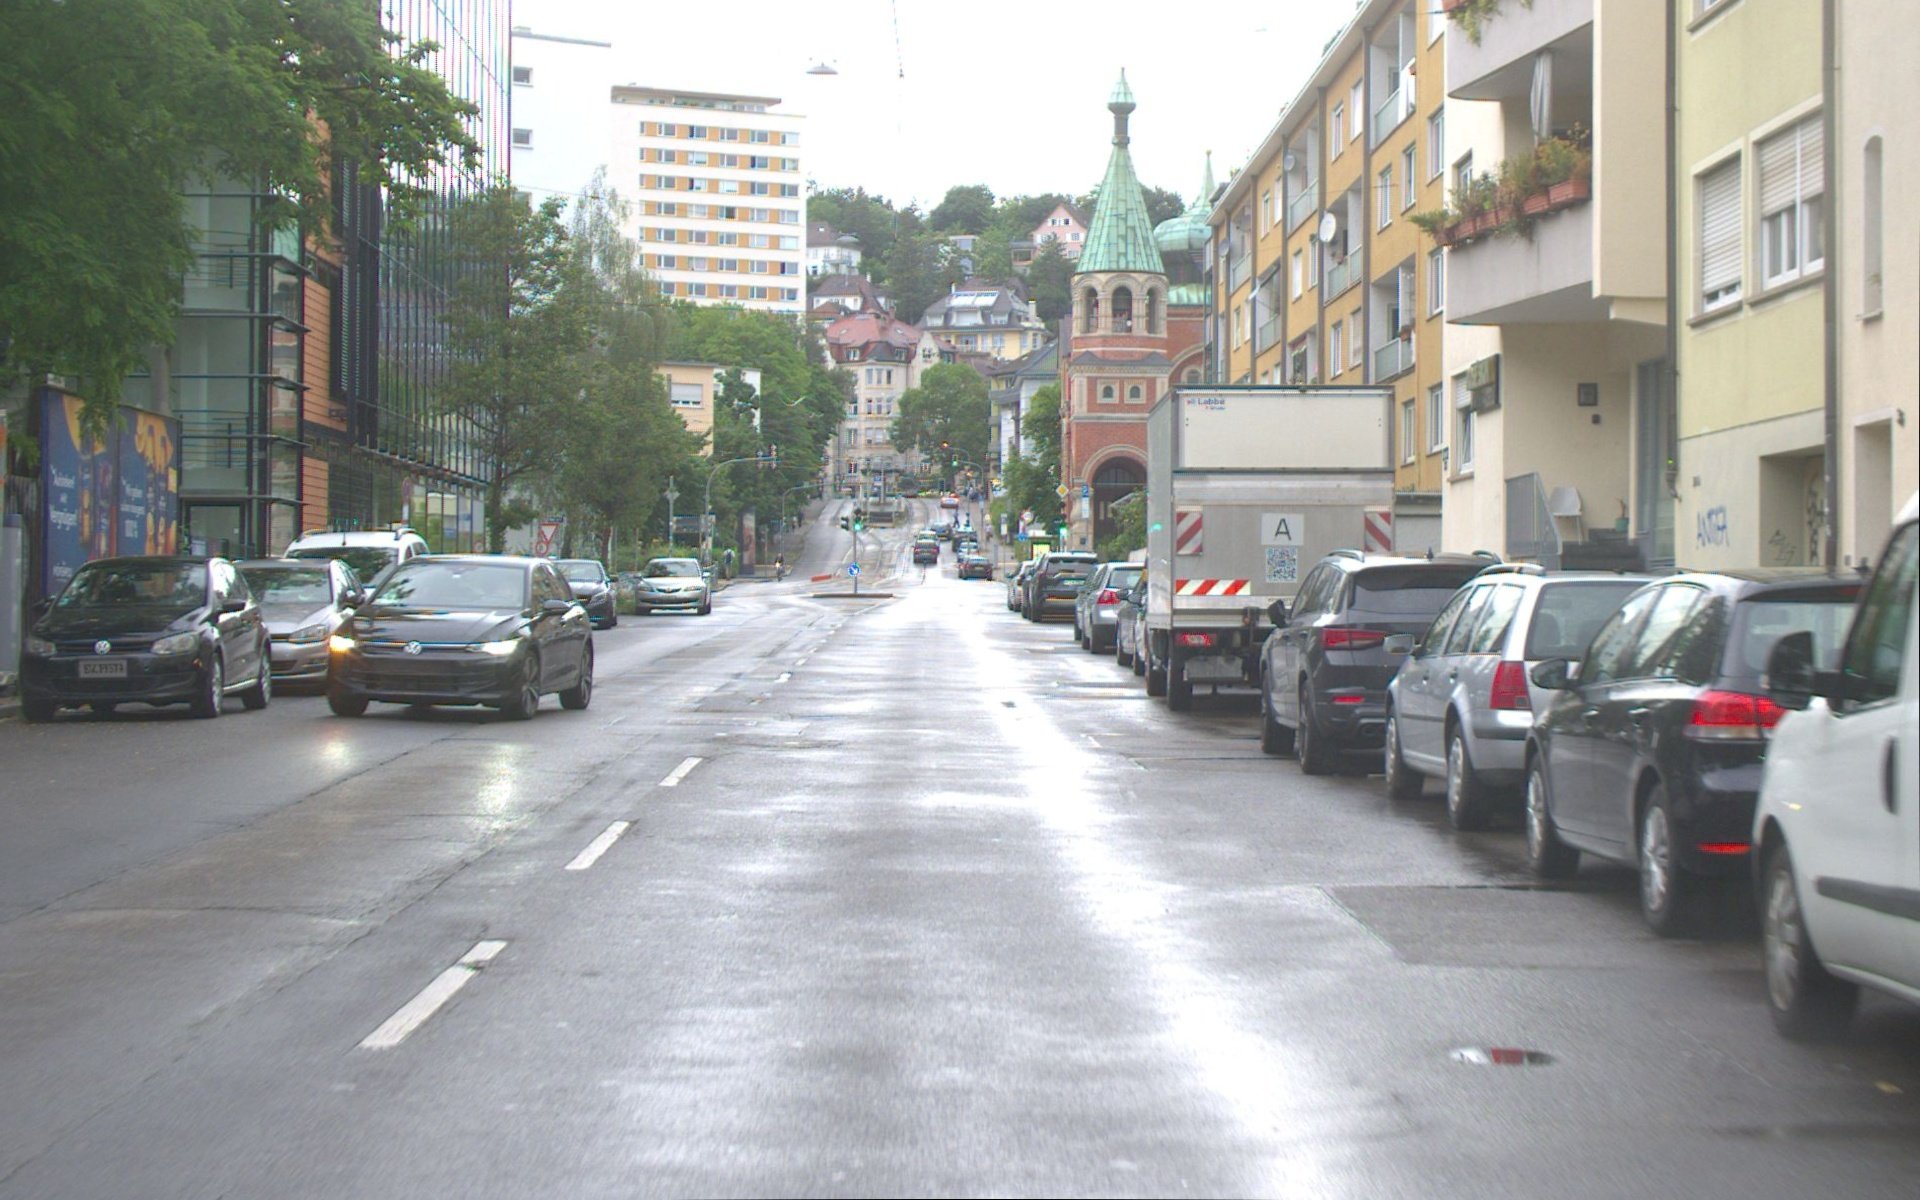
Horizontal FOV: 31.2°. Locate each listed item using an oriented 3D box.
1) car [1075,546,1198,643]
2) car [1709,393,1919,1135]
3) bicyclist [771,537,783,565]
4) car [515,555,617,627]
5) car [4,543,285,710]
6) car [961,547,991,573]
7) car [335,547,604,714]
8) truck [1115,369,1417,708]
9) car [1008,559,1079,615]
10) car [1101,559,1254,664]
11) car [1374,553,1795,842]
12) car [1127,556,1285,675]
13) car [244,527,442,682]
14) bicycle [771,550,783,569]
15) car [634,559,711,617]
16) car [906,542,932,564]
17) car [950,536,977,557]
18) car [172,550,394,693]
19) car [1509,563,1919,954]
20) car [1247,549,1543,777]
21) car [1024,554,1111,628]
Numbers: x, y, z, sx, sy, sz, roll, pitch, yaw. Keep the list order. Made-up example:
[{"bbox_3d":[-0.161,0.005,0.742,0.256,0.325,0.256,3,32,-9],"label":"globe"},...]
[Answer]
[{"bbox_3d":[2.833,-0.105,55.891,1.663,1.497,3.922,0,0,-2],"label":"car"},{"bbox_3d":[3.408,0.422,9.451,1.817,1.917,4.239,1,1,1],"label":"car"},{"bbox_3d":[-10.917,-2.906,205.215,0.677,1.656,0.650,1,0,-3],"label":"bicyclist"},{"bbox_3d":[-8.190,-0.197,71.797,1.803,1.445,4.658,0,0,-3],"label":"car"},{"bbox_3d":[-7.257,0.211,30.921,1.682,1.394,3.911,0,0,-2],"label":"car"},{"bbox_3d":[1.042,-2.524,216.215,1.732,1.648,4.000,1,1,2],"label":"car"},{"bbox_3d":[-4.417,0.234,31.544,1.805,1.411,4.384,0,1,0],"label":"car"},{"bbox_3d":[3.034,-0.612,35.789,2.469,3.161,7.036,1,1,0],"label":"truck"},{"bbox_3d":[2.374,-0.388,98.848,1.817,1.517,4.076,2,1,-1],"label":"car"},{"bbox_3d":[3.053,0.165,48.918,1.663,1.416,3.922,0,0,-4],"label":"car"},{"bbox_3d":[3.534,0.487,20.161,1.663,1.494,4.098,0,1,-1],"label":"car"},{"bbox_3d":[3.081,0.161,43.772,1.663,1.416,4.042,0,1,-1],"label":"car"},{"bbox_3d":[-7.504,0.036,42.177,1.723,1.794,4.344,0,0,-1],"label":"car"},{"bbox_3d":[-10.924,-2.432,205.264,0.677,1.104,1.800,1,0,-3],"label":"bicycle"},{"bbox_3d":[-7.236,-0.305,86.893,1.709,1.445,4.294,0,0,-2],"label":"car"},{"bbox_3d":[-3.000,-3.443,251.434,1.908,1.505,4.000,1,1,-1],"label":"car"},{"bbox_3d":[0.262,-3.944,252.912,1.892,1.505,4.000,2,1,-1],"label":"car"},{"bbox_3d":[-7.309,0.210,37.489,1.682,1.457,4.277,0,0,-2],"label":"car"},{"bbox_3d":[3.483,0.590,14.907,1.577,1.465,3.502,1,1,-1],"label":"car"},{"bbox_3d":[3.204,0.407,26.040,1.663,1.568,4.098,0,1,-1],"label":"car"},{"bbox_3d":[2.512,-0.241,81.511,1.817,1.647,4.076,2,1,-1],"label":"car"}]
